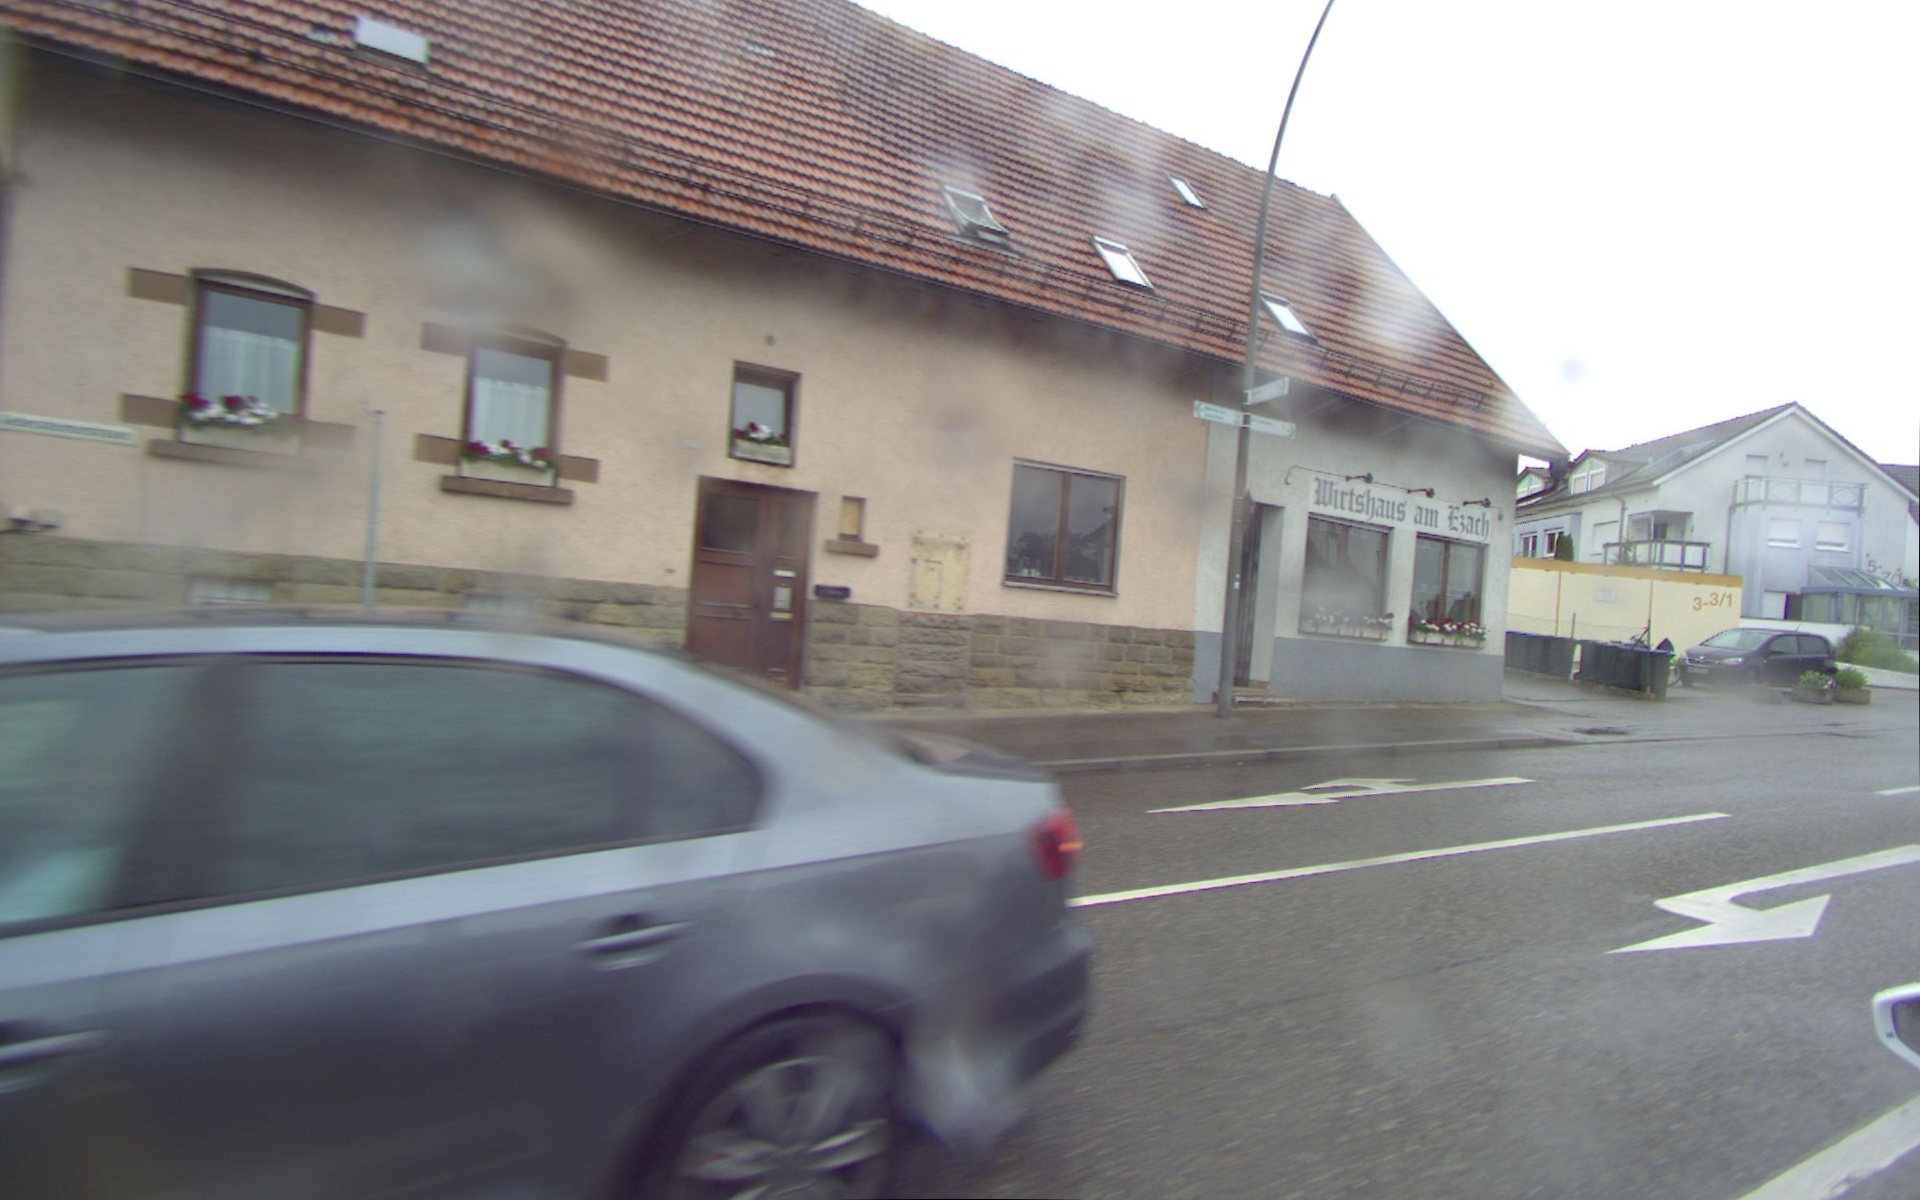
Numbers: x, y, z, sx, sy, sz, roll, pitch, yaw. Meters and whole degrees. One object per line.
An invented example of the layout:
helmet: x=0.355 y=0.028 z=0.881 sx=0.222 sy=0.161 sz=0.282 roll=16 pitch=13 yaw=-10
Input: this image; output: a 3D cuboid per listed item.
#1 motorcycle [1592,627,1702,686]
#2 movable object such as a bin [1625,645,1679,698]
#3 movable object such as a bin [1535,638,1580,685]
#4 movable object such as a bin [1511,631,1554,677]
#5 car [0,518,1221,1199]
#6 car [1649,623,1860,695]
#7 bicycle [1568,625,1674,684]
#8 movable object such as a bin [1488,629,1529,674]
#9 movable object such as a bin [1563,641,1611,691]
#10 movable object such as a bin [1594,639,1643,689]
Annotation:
motorcycle: x=16.232 y=1.313 z=23.799 sx=0.767 sy=1.129 sz=2.111 roll=4 pitch=3 yaw=-13
movable object such as a bin: x=14.266 y=1.466 z=20.723 sx=0.662 sy=1.046 sz=0.638 roll=2 pitch=-1 yaw=-16
movable object such as a bin: x=13.672 y=1.400 z=23.002 sx=0.595 sy=1.046 sz=0.638 roll=2 pitch=-1 yaw=-16
movable object such as a bin: x=13.495 y=1.275 z=23.683 sx=0.595 sy=1.046 sz=0.638 roll=2 pitch=-1 yaw=-16
car: x=-1.603 y=0.688 z=2.341 sx=4.179 sy=1.595 sz=1.934 roll=2 pitch=0 yaw=-32
car: x=18.818 y=1.385 z=23.865 sx=3.761 sy=1.461 sz=1.903 roll=2 pitch=2 yaw=-12
bicycle: x=15.504 y=1.256 z=23.638 sx=0.725 sy=1.128 sz=2.098 roll=4 pitch=2 yaw=-13
movable object such as a bin: x=13.305 y=1.248 z=24.370 sx=0.595 sy=1.046 sz=0.638 roll=2 pitch=-1 yaw=-16
movable object such as a bin: x=13.976 y=1.471 z=22.392 sx=0.595 sy=1.046 sz=0.638 roll=2 pitch=2 yaw=-16
movable object such as a bin: x=14.069 y=1.364 z=21.482 sx=0.595 sy=1.046 sz=0.638 roll=2 pitch=-1 yaw=-16
